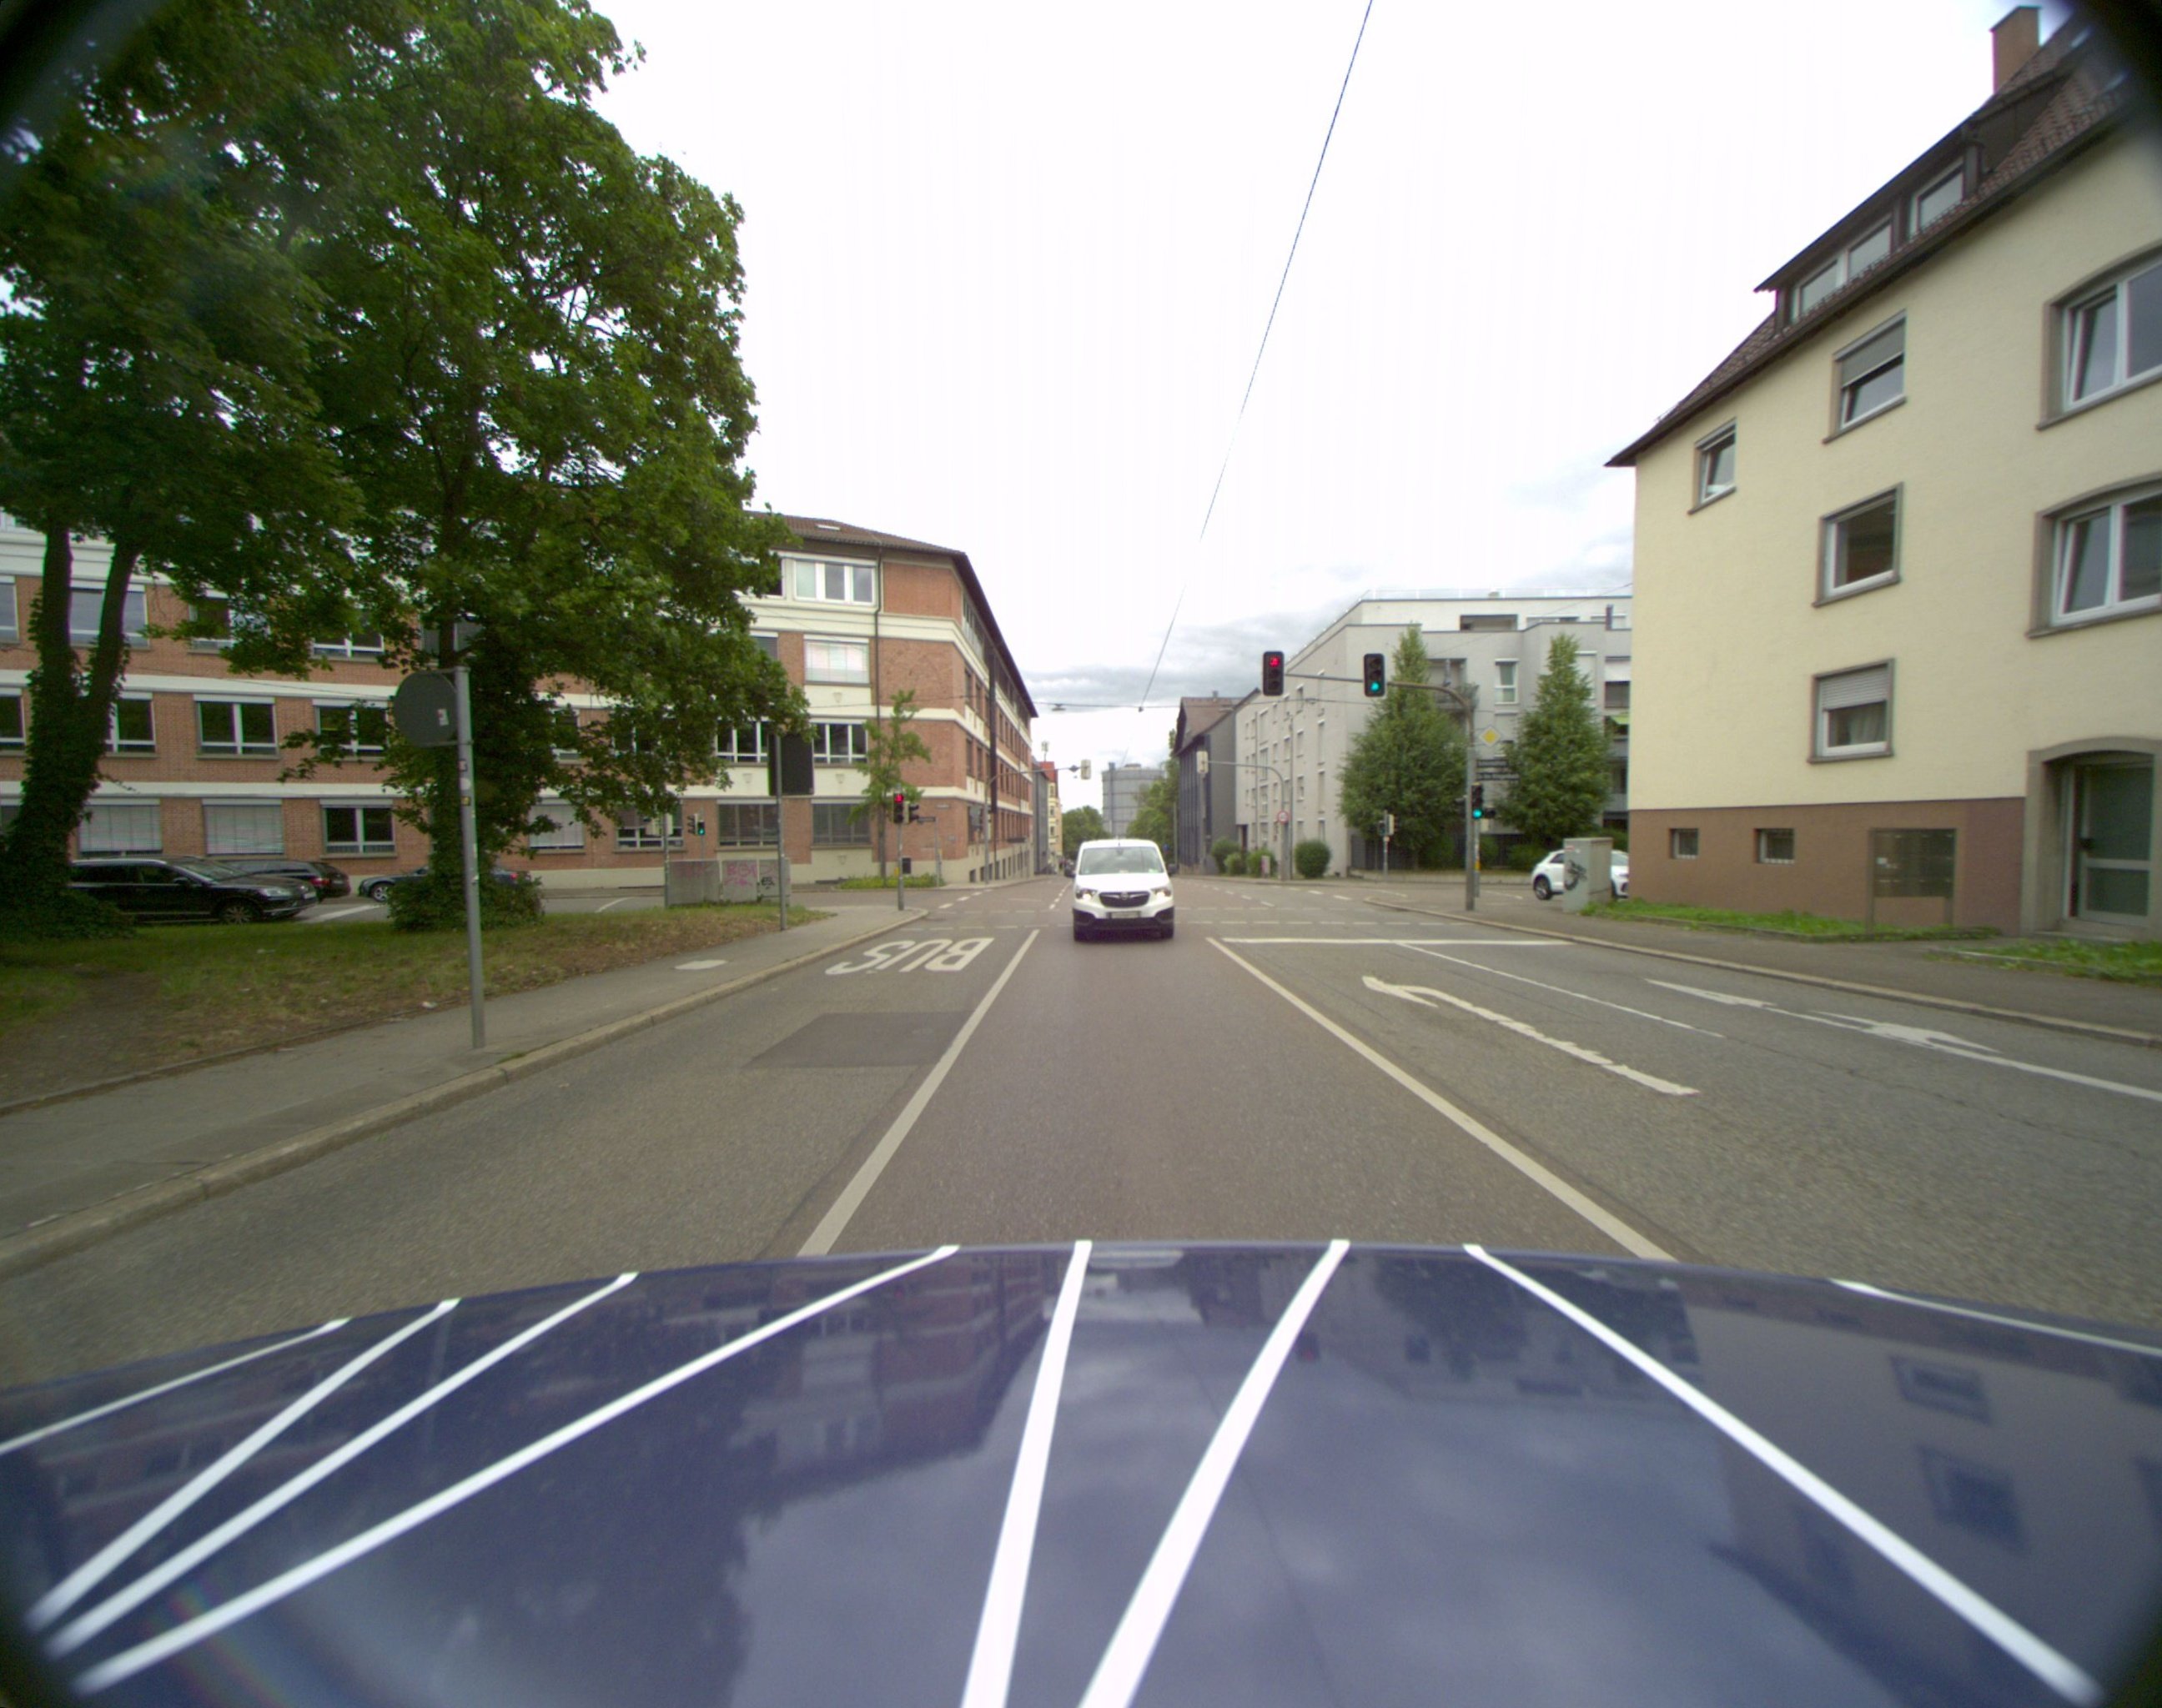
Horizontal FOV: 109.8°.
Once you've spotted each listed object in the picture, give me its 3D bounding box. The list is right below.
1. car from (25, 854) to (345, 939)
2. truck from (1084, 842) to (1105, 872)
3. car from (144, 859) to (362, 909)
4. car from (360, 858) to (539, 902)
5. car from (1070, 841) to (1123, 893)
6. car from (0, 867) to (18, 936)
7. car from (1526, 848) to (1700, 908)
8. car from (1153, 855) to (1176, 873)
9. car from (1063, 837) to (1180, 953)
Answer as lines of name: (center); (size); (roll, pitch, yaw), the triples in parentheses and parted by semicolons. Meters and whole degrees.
car: (-21.768, 0.965, 18.779); (4.661, 1.718, 1.960); (0, 6, -19)
truck: (1.687, 0.365, 93.329); (2.545, 3.478, 8.521); (0, 0, 1)
car: (-26.455, 0.941, 24.504); (4.402, 1.500, 1.771); (0, -2, -21)
car: (-21.719, 0.893, 26.375); (4.425, 1.396, 1.771); (0, -2, -21)
car: (0.601, 0.456, 29.442); (1.850, 1.832, 4.283); (-1, 0, 1)
car: (-27.322, 1.196, 16.675); (4.313, 1.601, 1.742); (0, 6, -19)
car: (14.996, 0.658, 21.767); (1.819, 1.527, 4.259); (1, -1, -4)
car: (7.082, 0.817, 64.581); (1.591, 1.455, 3.616); (0, 0, 1)
car: (0.698, 0.696, 14.448); (1.850, 1.831, 4.284); (-1, -1, 1)
